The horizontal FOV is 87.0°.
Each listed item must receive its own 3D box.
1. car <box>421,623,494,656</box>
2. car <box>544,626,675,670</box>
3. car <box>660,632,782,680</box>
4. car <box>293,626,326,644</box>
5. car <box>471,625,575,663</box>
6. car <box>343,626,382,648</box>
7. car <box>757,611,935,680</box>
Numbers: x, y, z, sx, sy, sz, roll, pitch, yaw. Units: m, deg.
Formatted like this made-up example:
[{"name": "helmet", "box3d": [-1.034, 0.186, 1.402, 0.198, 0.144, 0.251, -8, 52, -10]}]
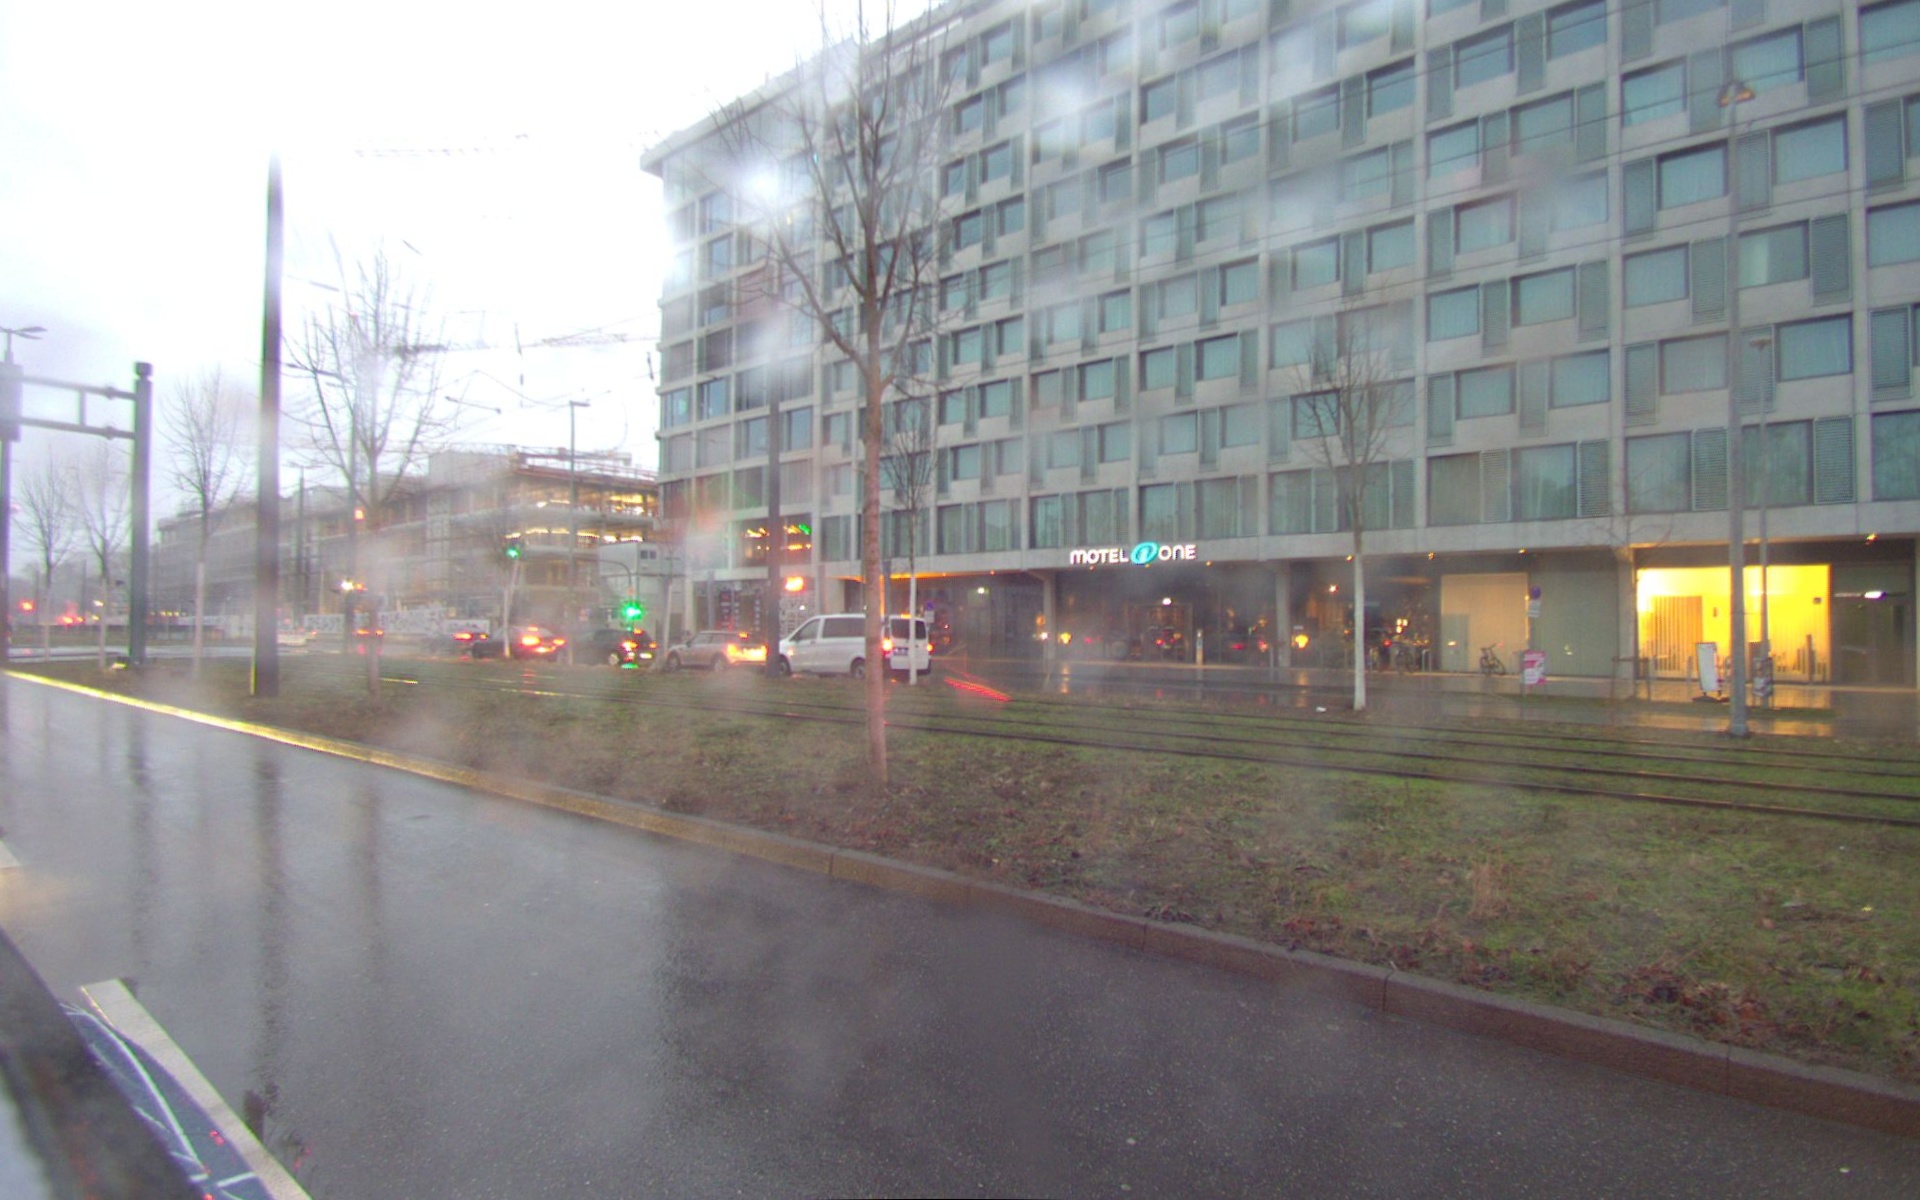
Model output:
[{"name": "car", "box3d": [-27.590, 2.127, 55.512, 4.914, 1.732, 1.876, -1, -2, 41]}, {"name": "car", "box3d": [-12.759, 1.714, 36.862, 4.425, 1.508, 1.983, -1, -2, 26]}, {"name": "car", "box3d": [-7.652, 1.739, 32.300, 3.701, 1.442, 1.878, -1, -2, 38]}, {"name": "car", "box3d": [-67.038, 3.586, 104.306, 1.874, 1.732, 4.920, 2, -2, -44]}, {"name": "car", "box3d": [-17.870, 1.764, 41.285, 5.032, 1.479, 1.972, -2, -3, 42]}, {"name": "car", "box3d": [-48.646, 3.002, 82.335, 1.872, 1.732, 4.923, 1, -2, -41]}, {"name": "car", "box3d": [-3.219, 1.220, 27.824, 5.114, 1.732, 1.876, -1, -3, 40]}]
